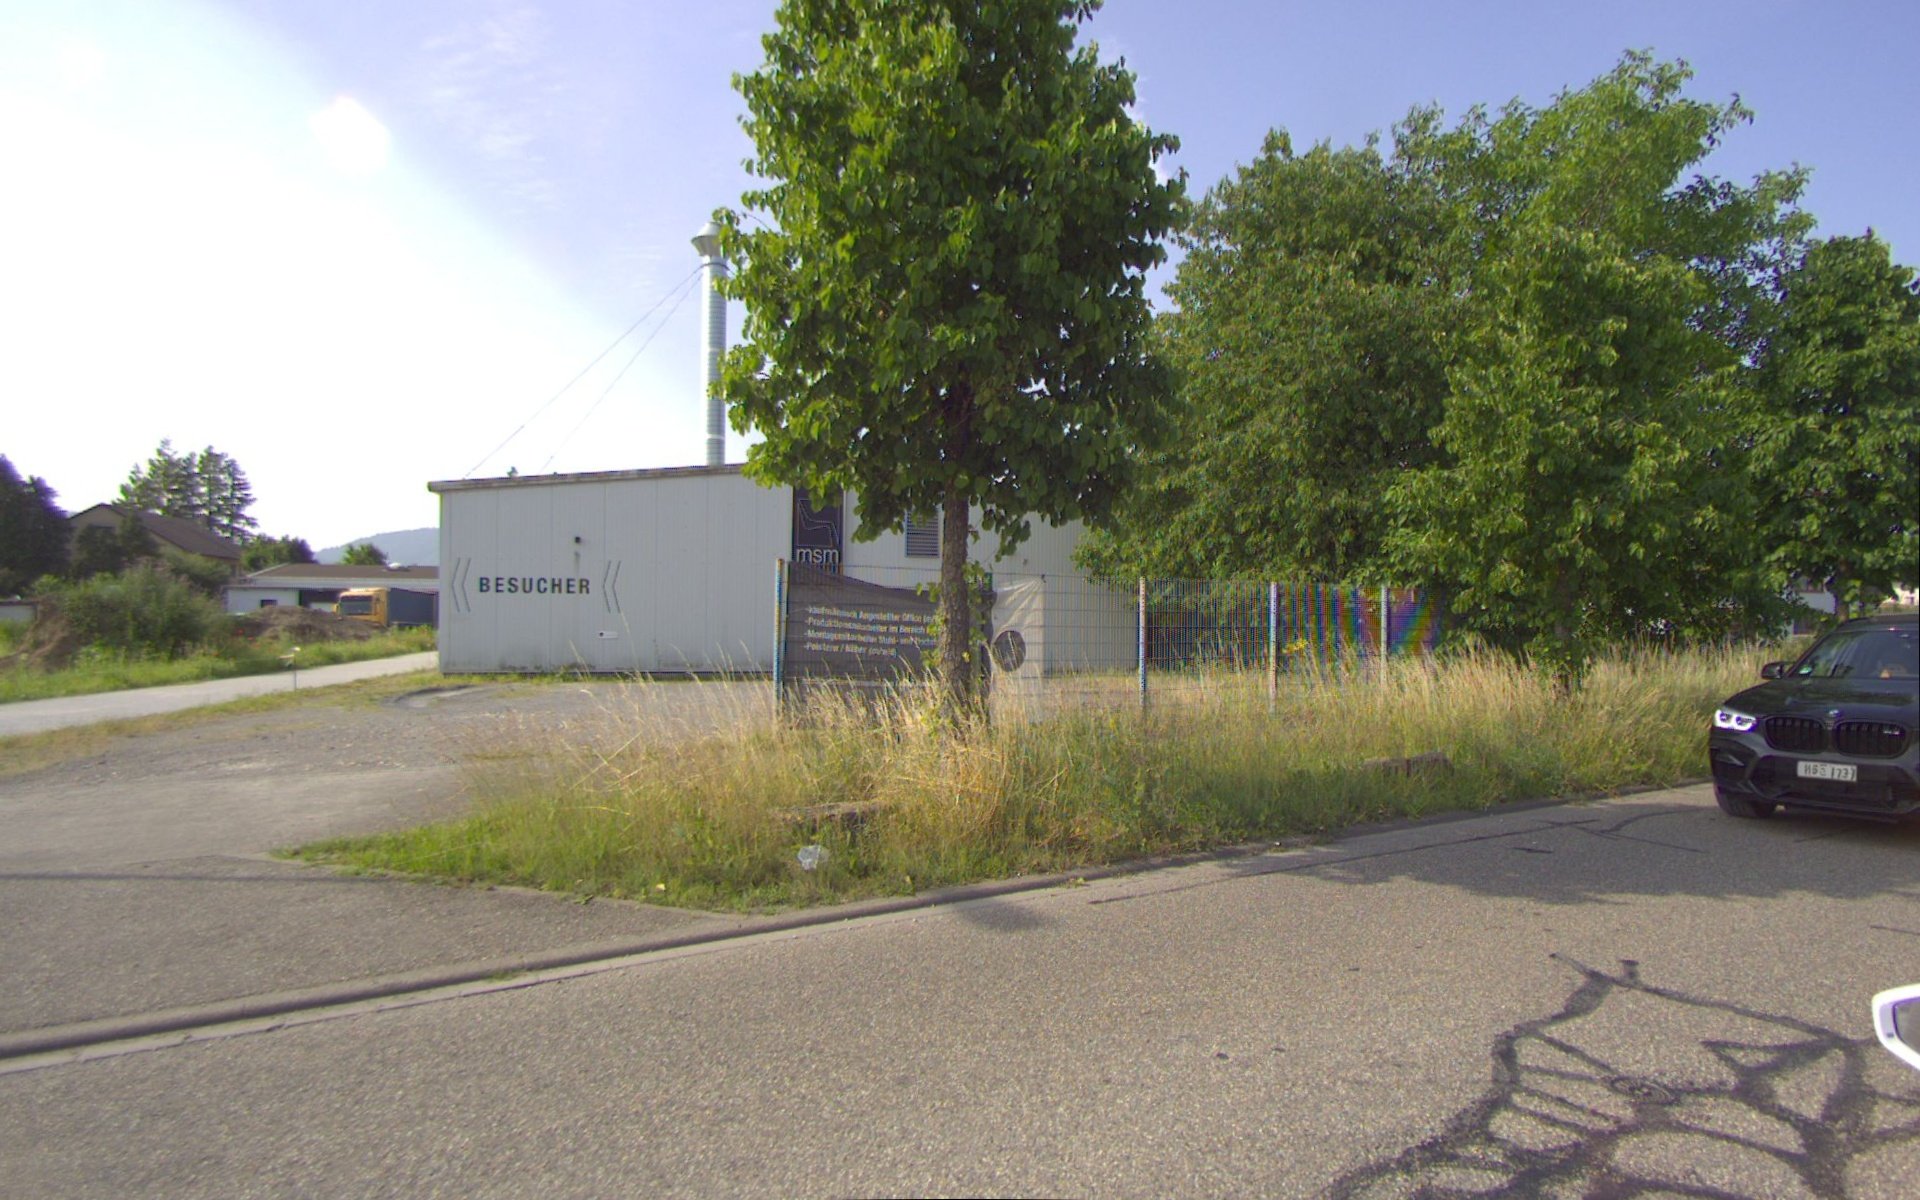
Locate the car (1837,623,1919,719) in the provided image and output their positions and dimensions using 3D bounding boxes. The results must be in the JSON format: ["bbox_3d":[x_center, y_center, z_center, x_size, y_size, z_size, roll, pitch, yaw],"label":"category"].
[{"bbox_3d":[17.451,1.237,17.906,3.643,1.559,1.560,1,1,-29],"label":"car"}]

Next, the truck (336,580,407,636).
[{"bbox_3d":[-43.750,0.640,74.950,2.854,3.938,7.559,1,-1,-17],"label":"truck"}]

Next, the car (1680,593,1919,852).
[{"bbox_3d":[7.954,0.878,8.270,4.179,1.737,1.846,1,-2,-32],"label":"car"}]
